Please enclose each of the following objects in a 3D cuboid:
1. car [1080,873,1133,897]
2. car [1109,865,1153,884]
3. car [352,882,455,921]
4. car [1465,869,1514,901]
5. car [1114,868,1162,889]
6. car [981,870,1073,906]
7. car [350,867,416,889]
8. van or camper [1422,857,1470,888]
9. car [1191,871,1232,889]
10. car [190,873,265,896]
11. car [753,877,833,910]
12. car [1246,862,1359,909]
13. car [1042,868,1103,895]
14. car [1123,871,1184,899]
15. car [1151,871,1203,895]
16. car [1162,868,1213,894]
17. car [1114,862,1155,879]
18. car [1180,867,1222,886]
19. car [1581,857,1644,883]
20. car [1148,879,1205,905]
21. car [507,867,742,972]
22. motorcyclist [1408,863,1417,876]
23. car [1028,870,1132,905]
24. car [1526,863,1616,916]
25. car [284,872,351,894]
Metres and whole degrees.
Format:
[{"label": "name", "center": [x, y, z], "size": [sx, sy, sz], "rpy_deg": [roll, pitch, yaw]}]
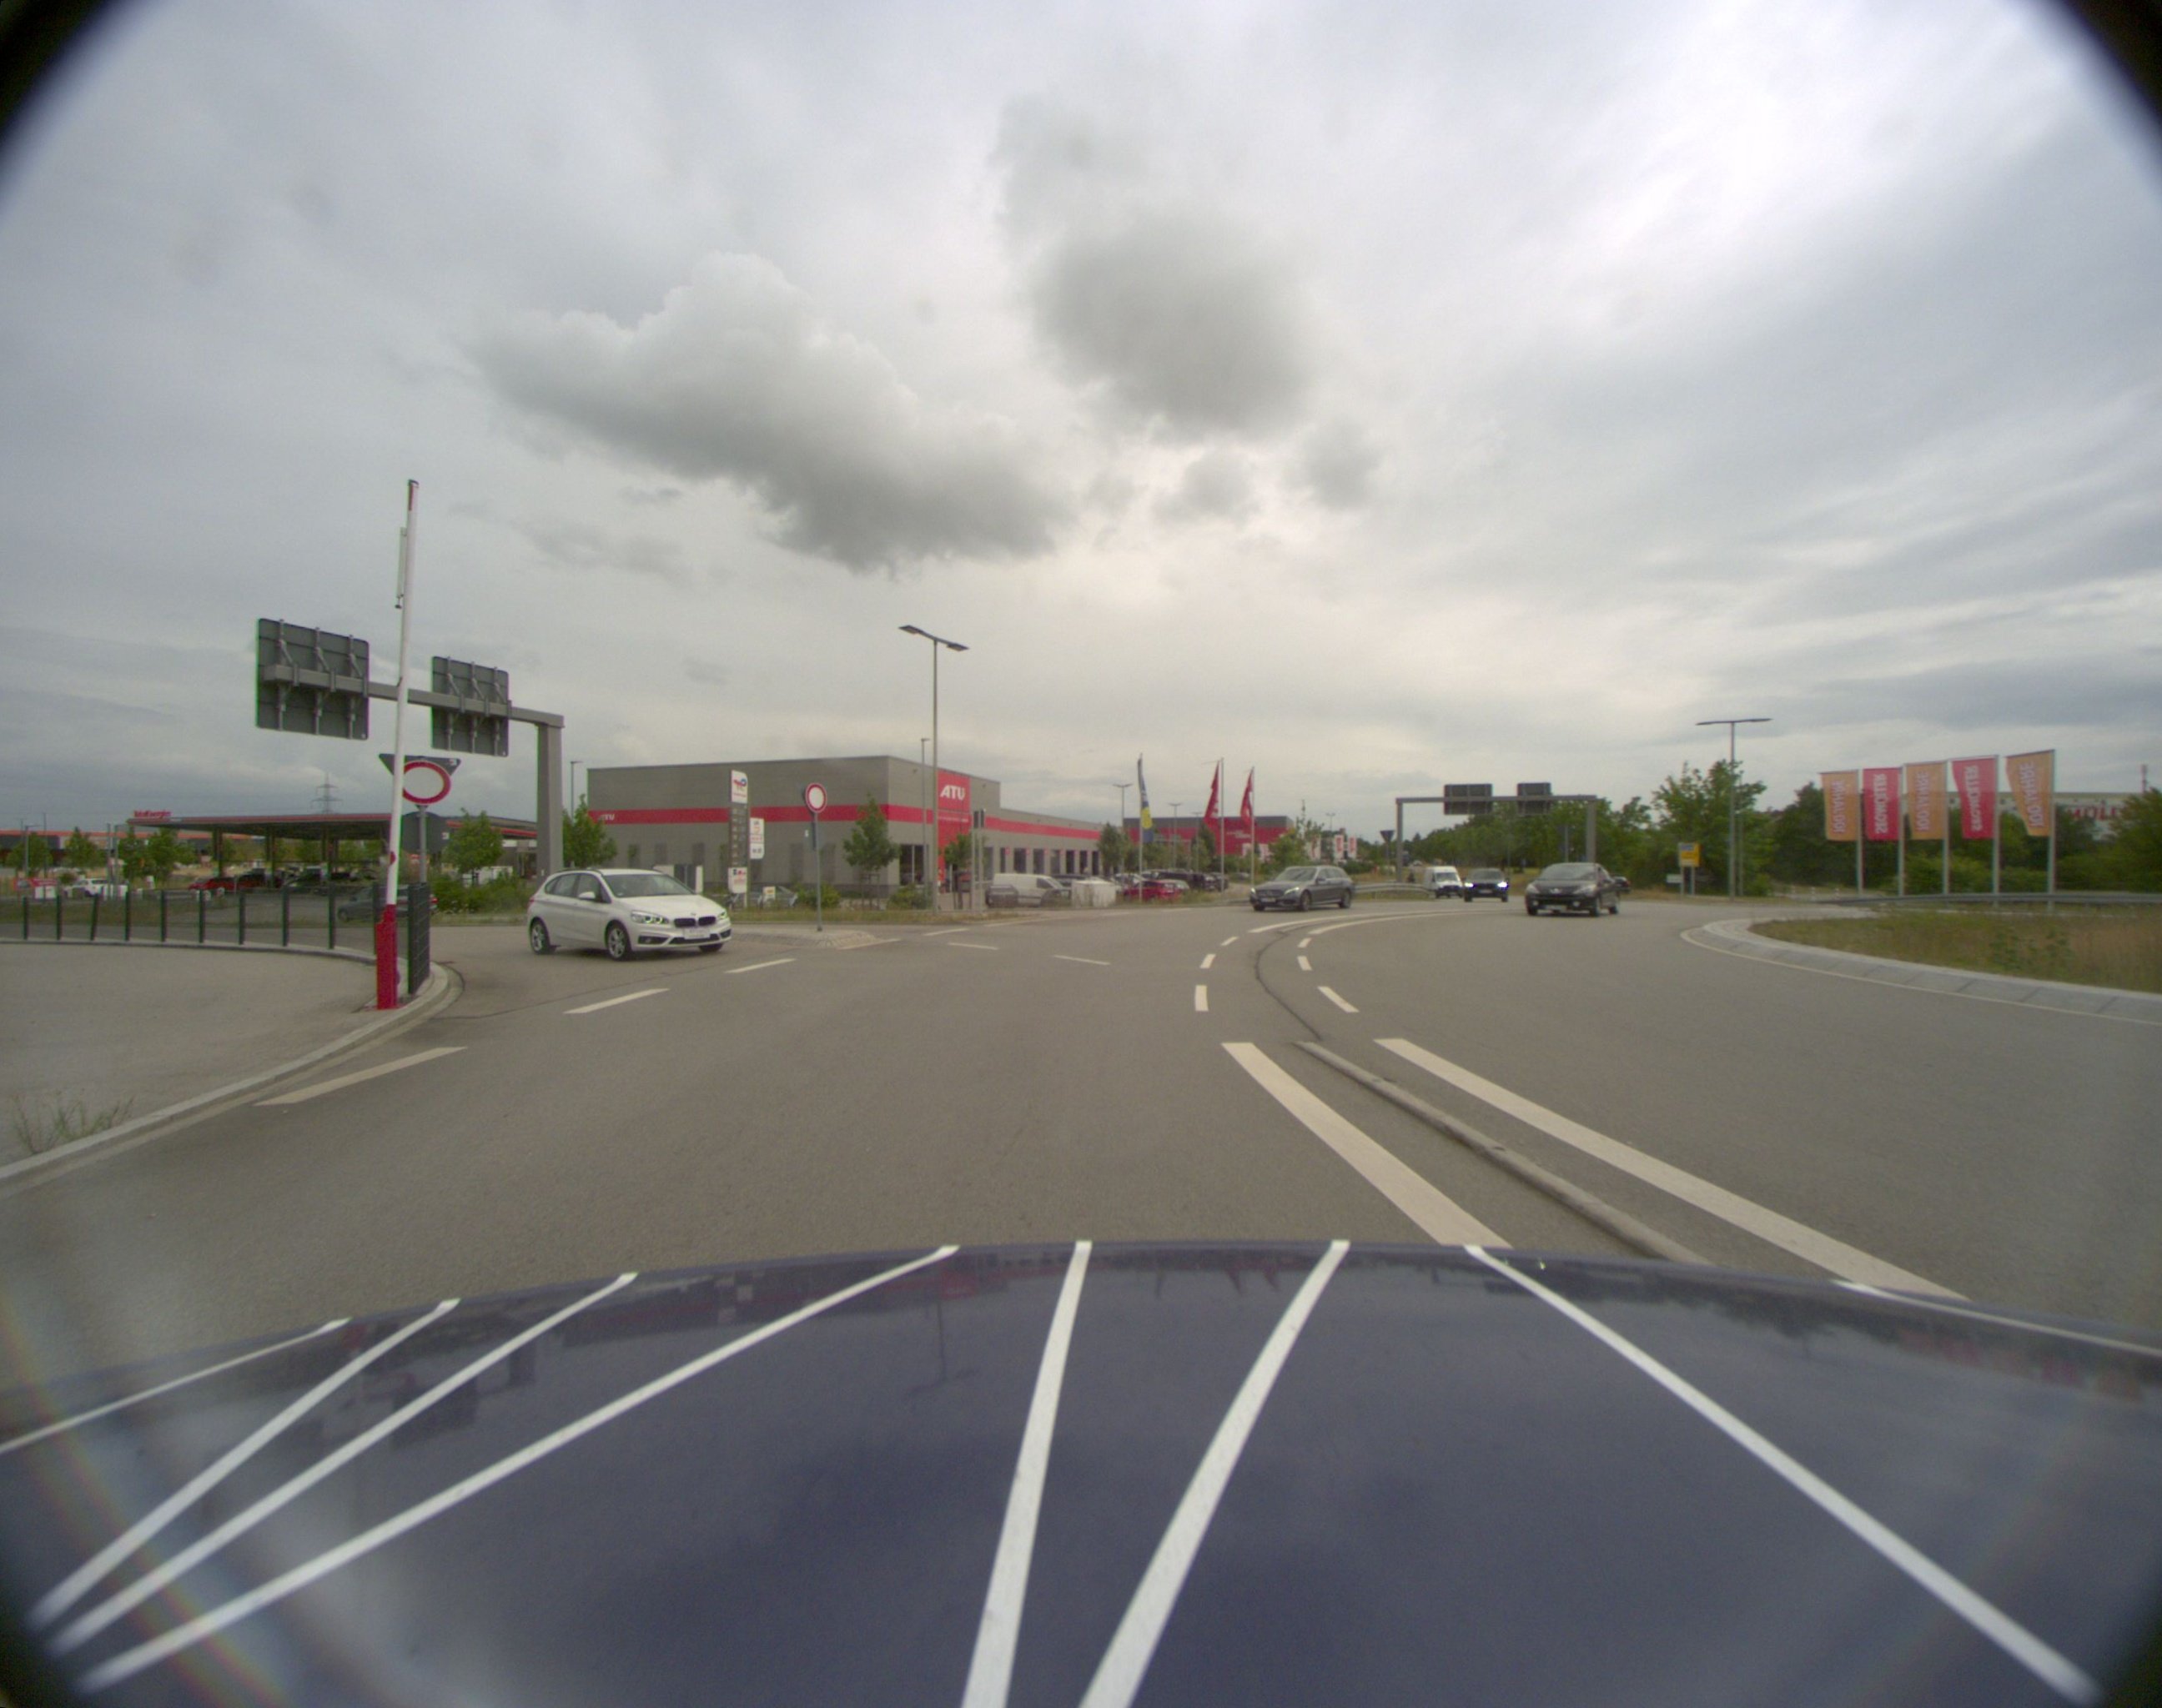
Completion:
[{"label": "car", "center": [1.914, 2.327, 57.240], "size": [3.693, 1.628, 1.593], "rpy_deg": [-2, -1, 14]}, {"label": "car", "center": [4.599, 1.878, 69.414], "size": [3.693, 1.628, 1.593], "rpy_deg": [-2, -1, 14]}, {"label": "car", "center": [-30.765, 2.127, 34.520], "size": [3.990, 1.565, 1.920], "rpy_deg": [-1, 1, 23]}, {"label": "car", "center": [20.060, 1.480, 37.239], "size": [1.856, 1.403, 4.566], "rpy_deg": [-1, 0, 31]}, {"label": "car", "center": [4.802, 2.030, 63.943], "size": [3.693, 1.628, 1.593], "rpy_deg": [-2, -1, 14]}, {"label": "car", "center": [-3.191, 1.995, 45.086], "size": [5.069, 2.035, 2.003], "rpy_deg": [0, -1, 14]}, {"label": "car", "center": [-59.719, 2.092, 65.116], "size": [1.713, 1.782, 3.844], "rpy_deg": [-2, -2, 14]}, {"label": "van or camper", "center": [29.673, 1.450, 61.959], "size": [2.050, 2.350, 5.546], "rpy_deg": [-1, 0, 10]}, {"label": "car", "center": [12.097, 2.431, 70.883], "size": [1.739, 1.612, 4.070], "rpy_deg": [2, -3, -25]}, {"label": "car", "center": [-70.535, 2.554, 62.850], "size": [1.714, 1.782, 3.842], "rpy_deg": [-1, -2, 5]}, {"label": "car", "center": [-15.779, 2.132, 41.637], "size": [3.745, 1.564, 1.913], "rpy_deg": [-2, -1, -32]}, {"label": "car", "center": [7.372, 0.981, 25.093], "size": [4.100, 1.411, 1.761], "rpy_deg": [0, 0, -43]}, {"label": "car", "center": [-0.606, 1.987, 55.512], "size": [4.194, 1.825, 1.593], "rpy_deg": [-2, -1, 14]}, {"label": "car", "center": [4.745, 1.998, 50.144], "size": [1.774, 1.571, 4.065], "rpy_deg": [-1, 2, -36]}, {"label": "car", "center": [7.155, 2.163, 56.908], "size": [1.774, 1.570, 4.067], "rpy_deg": [2, 0, -29]}, {"label": "car", "center": [8.215, 2.143, 59.190], "size": [1.908, 1.896, 4.070], "rpy_deg": [-2, -1, -26]}, {"label": "car", "center": [5.155, 1.611, 73.292], "size": [3.693, 1.535, 1.593], "rpy_deg": [-2, -1, 14]}, {"label": "car", "center": [10.759, 2.075, 68.416], "size": [1.653, 1.612, 4.070], "rpy_deg": [2, -3, -26]}, {"label": "car", "center": [38.904, 1.123, 55.809], "size": [2.101, 1.780, 5.057], "rpy_deg": [-1, 0, 14]}, {"label": "car", "center": [6.627, 2.653, 53.338], "size": [1.774, 1.570, 4.066], "rpy_deg": [1, 0, -32]}, {"label": "car", "center": [-8.328, 1.075, 13.770], "size": [4.415, 1.619, 1.788], "rpy_deg": [-1, -1, 31]}, {"label": "motorcyclist", "center": [40.623, 1.844, 93.099], "size": [0.674, 1.566, 0.846], "rpy_deg": [1, -2, -5]}, {"label": "car", "center": [-0.026, 1.638, 37.869], "size": [4.826, 1.665, 1.968], "rpy_deg": [0, -1, 14]}, {"label": "car", "center": [13.727, 0.957, 21.202], "size": [1.576, 1.346, 3.832], "rpy_deg": [-1, -2, 41]}, {"label": "car", "center": [-65.440, 2.466, 65.199], "size": [1.714, 1.782, 3.842], "rpy_deg": [-1, -2, 5]}]
